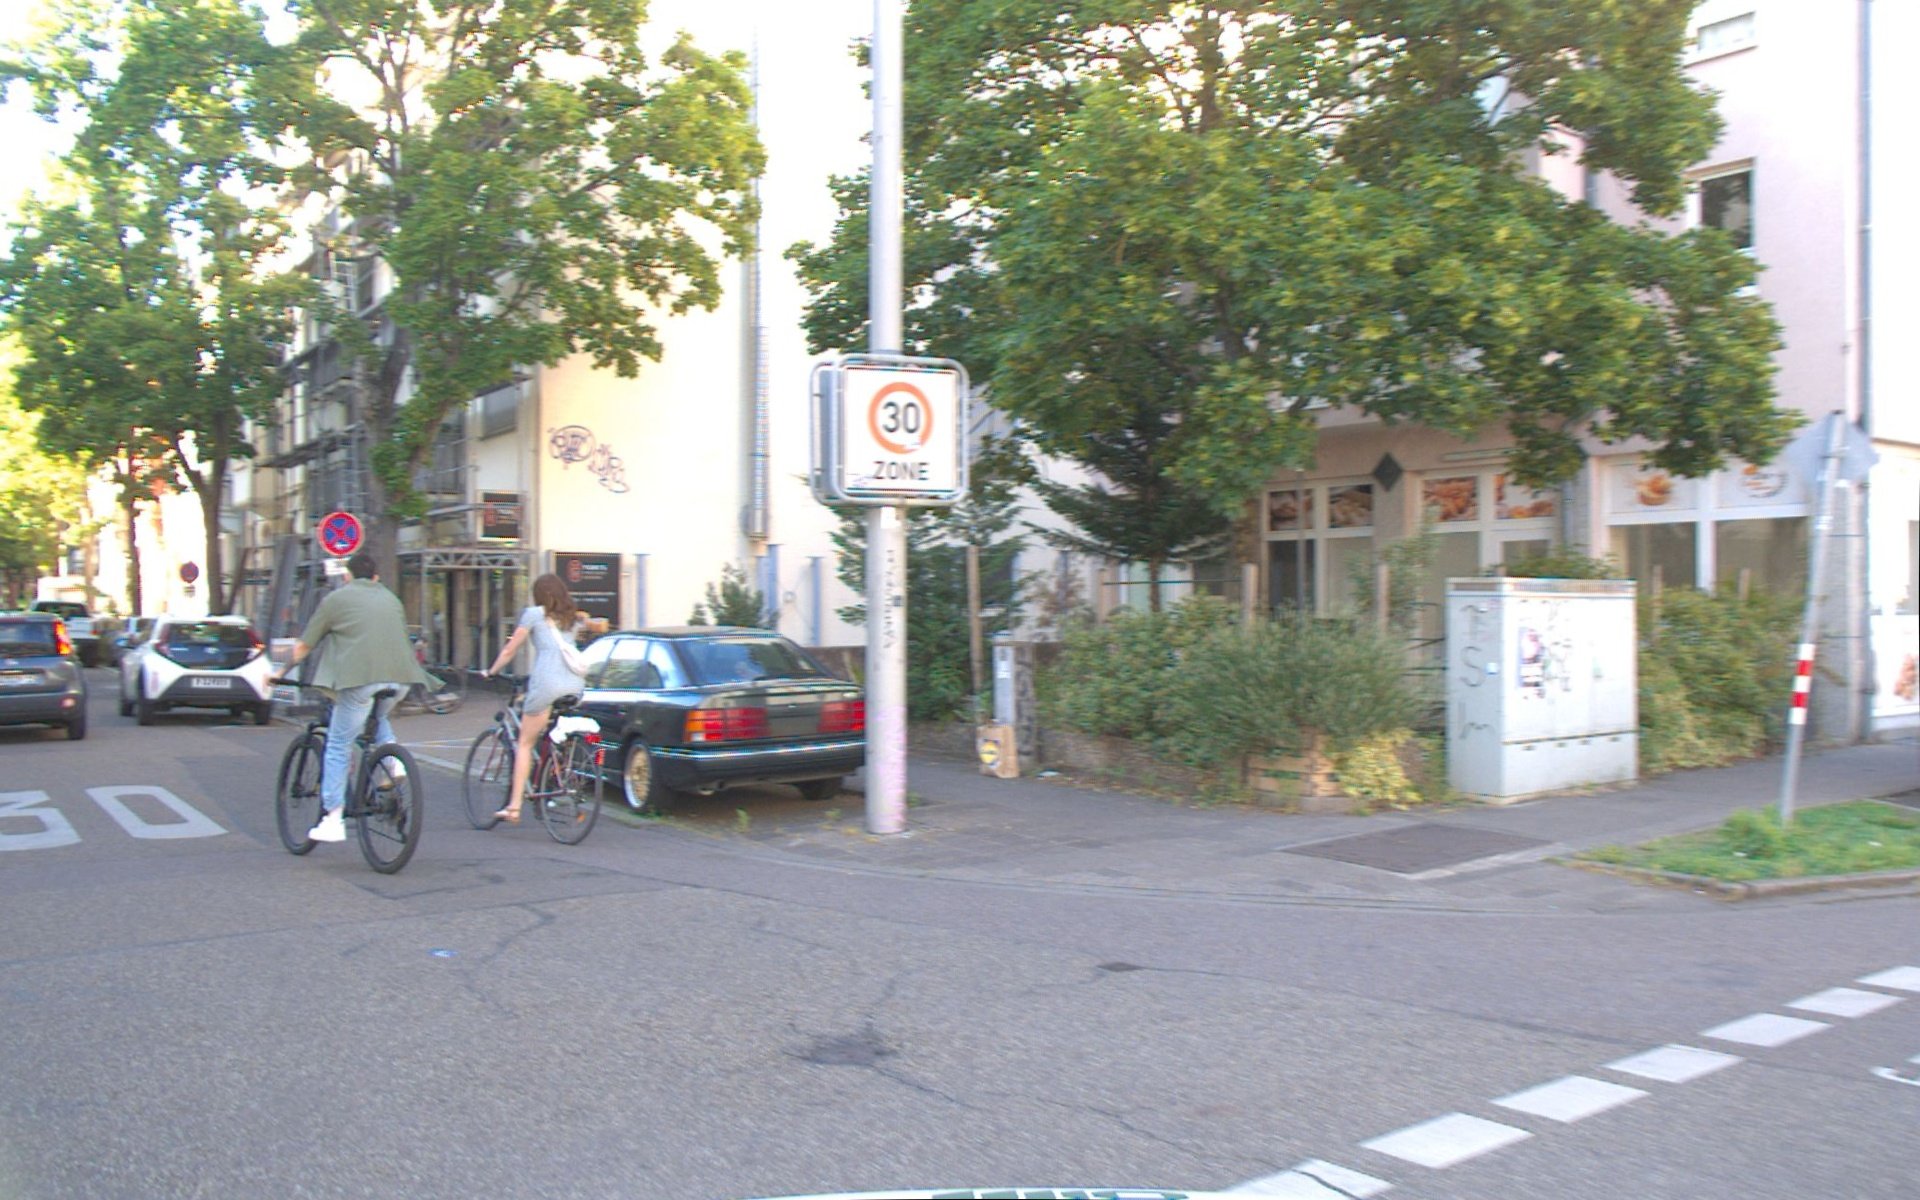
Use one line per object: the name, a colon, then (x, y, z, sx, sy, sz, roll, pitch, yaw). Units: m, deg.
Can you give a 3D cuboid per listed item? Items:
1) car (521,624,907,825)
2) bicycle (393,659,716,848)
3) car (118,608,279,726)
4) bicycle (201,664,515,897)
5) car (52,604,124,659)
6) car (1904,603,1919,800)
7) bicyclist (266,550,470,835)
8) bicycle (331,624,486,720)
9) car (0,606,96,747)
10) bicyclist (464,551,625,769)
car: (-2.272, 0.918, 14.105, 1.691, 1.412, 4.522, 1, -1, -31)
bicycle: (-2.771, 1.004, 11.213, 2.186, 1.170, 0.839, -2, -5, 34)
car: (-11.045, 0.935, 23.888, 1.659, 1.572, 3.366, 3, -2, -32)
bicycle: (-3.666, 1.013, 9.971, 2.192, 1.169, 0.837, 0, 1, 42)
car: (-28.629, 1.010, 54.237, 1.672, 1.713, 3.952, -1, 0, -34)
car: (9.172, 0.791, 13.049, 3.963, 1.468, 1.725, 0, 2, -40)
bicyclist: (-3.523, 0.540, 9.823, 0.877, 1.589, 0.855, 0, -4, -41)
bicycle: (-7.742, 0.987, 23.308, 0.713, 1.185, 1.977, -1, 2, 39)
car: (-11.631, 0.902, 20.264, 1.542, 1.560, 3.447, -2, 0, -32)
bicyclist: (-2.829, 0.420, 11.259, 0.850, 1.405, 0.623, -6, -5, 35)
